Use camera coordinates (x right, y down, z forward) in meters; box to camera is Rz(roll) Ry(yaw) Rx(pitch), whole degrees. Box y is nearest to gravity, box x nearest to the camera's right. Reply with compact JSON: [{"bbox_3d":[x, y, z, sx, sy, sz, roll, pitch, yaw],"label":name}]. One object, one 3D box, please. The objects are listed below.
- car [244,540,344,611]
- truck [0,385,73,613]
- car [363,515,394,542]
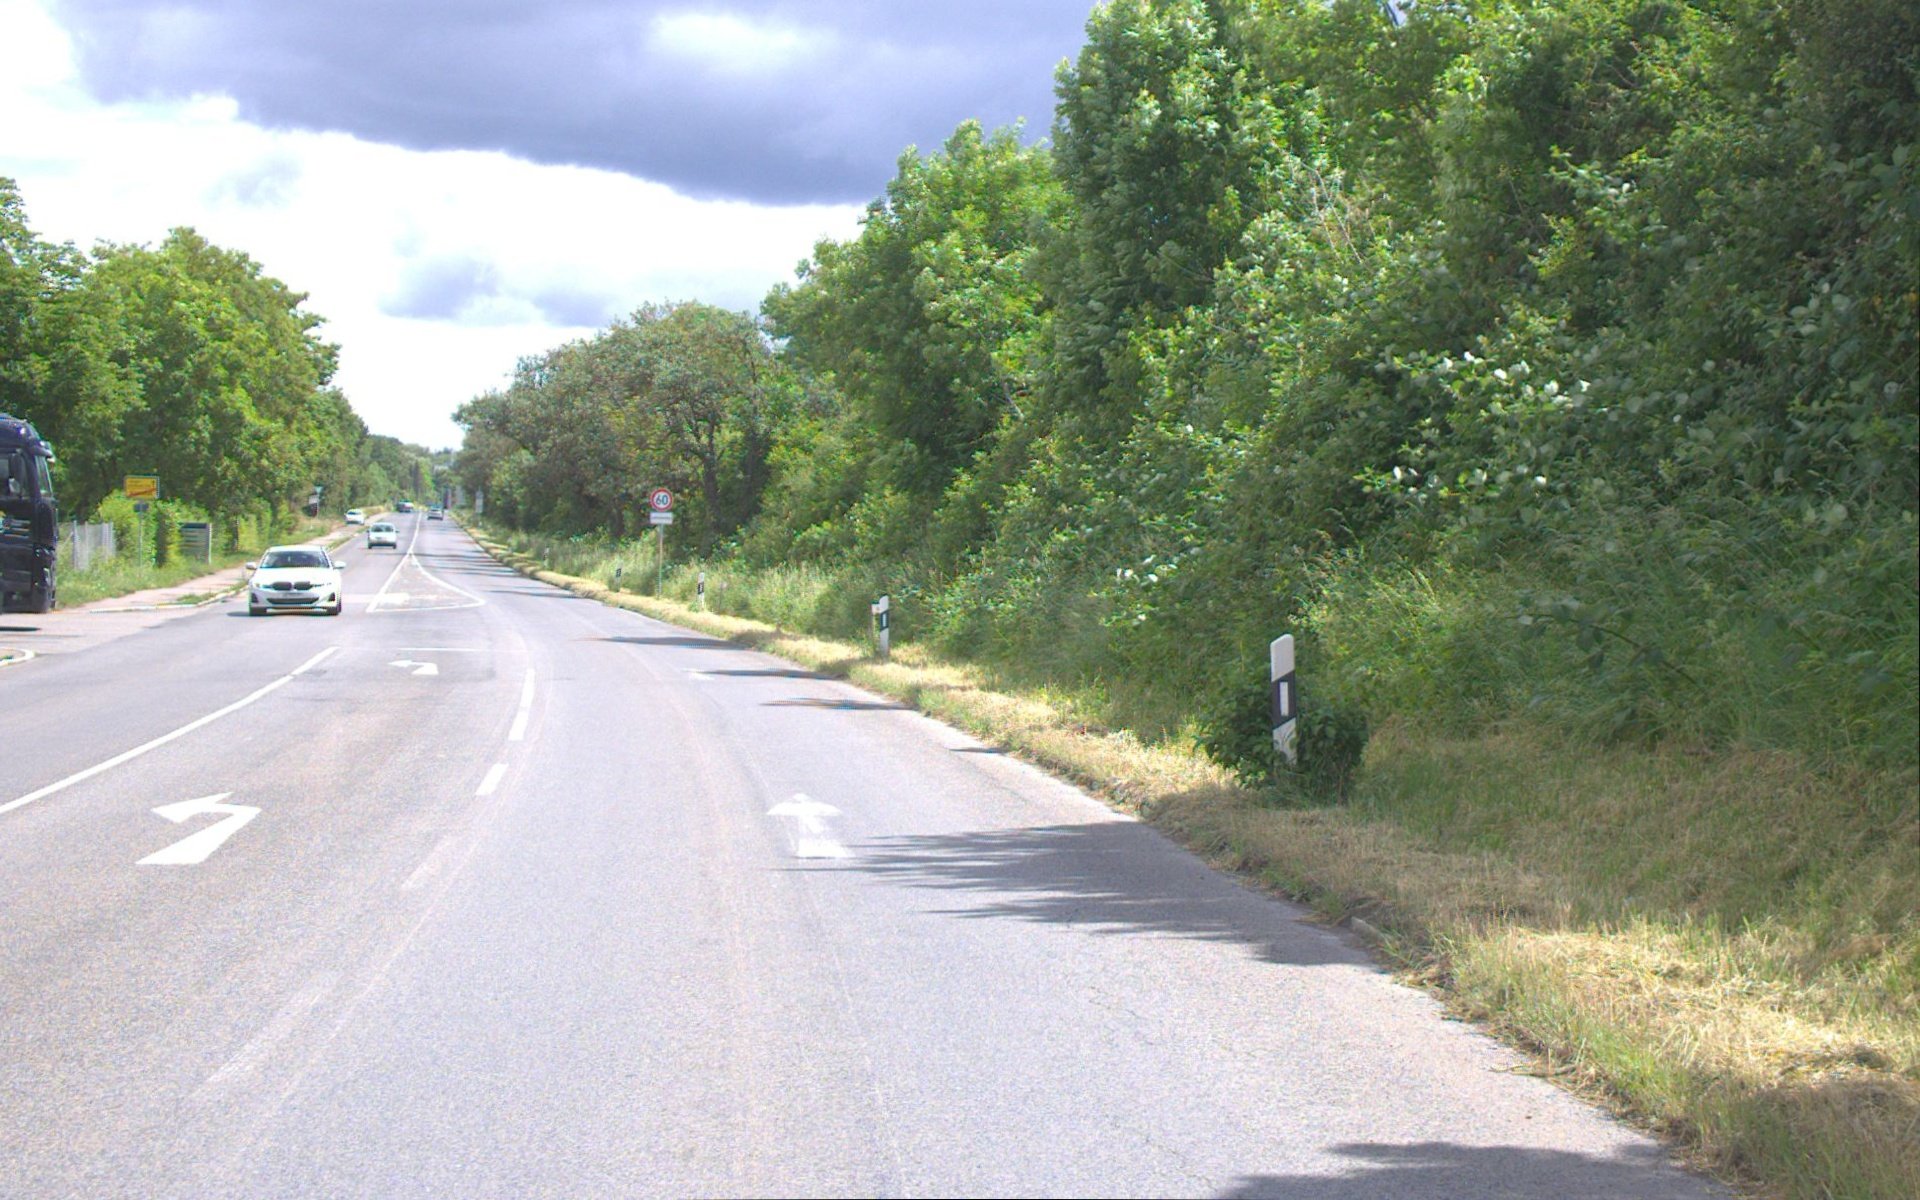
[{"bbox_3d":[-13.975,-0.540,72.285,1.993,1.445,4.428,0,1,-10],"label":"car"},{"bbox_3d":[-18.109,-1.749,58.802,5.552,3.810,2.985,1,1,-13],"label":"truck"},{"bbox_3d":[-32.847,-4.050,194.278,1.660,1.427,3.694,0,2,-8],"label":"car"}]
